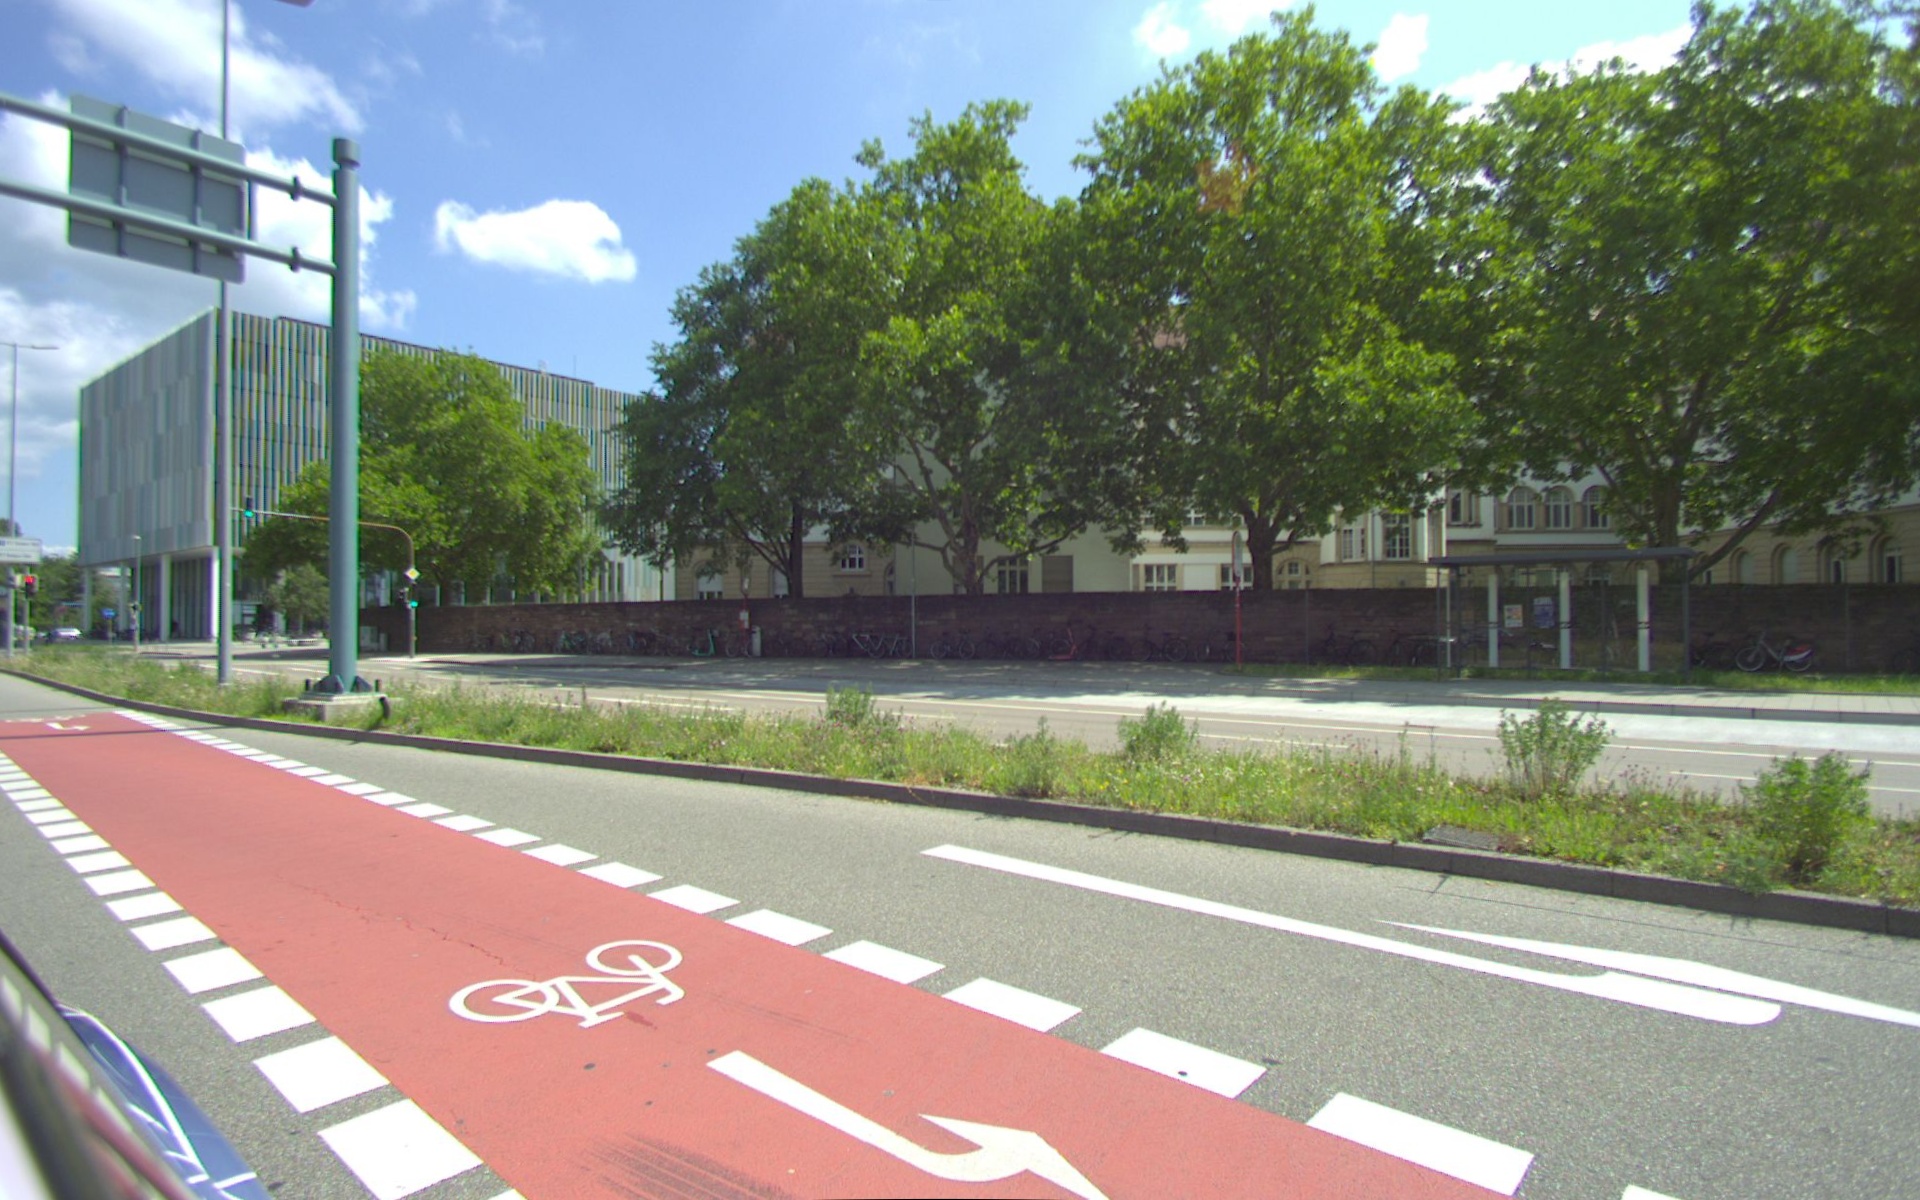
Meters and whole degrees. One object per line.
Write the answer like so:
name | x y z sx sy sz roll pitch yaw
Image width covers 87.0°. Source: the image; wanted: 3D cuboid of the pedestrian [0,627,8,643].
pedestrian | -98.173 3.613 103.654 0.994 1.669 0.853 -2 -2 39

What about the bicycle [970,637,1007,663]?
bicycle | 0.958 1.657 33.713 1.230 0.837 0.262 -1 -2 28

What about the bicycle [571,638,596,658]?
bicycle | -16.269 2.084 43.720 1.231 0.837 0.262 -2 -2 30

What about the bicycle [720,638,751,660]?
bicycle | -8.648 1.887 38.944 1.226 0.837 0.263 -1 -2 19

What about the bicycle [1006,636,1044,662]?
bicycle | 2.130 1.612 33.064 1.230 0.837 0.262 -1 -2 28

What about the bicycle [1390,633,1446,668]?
bicycle | 12.862 1.406 28.414 1.384 0.972 0.263 -1 -2 18

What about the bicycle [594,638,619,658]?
bicycle | -14.986 2.018 42.875 1.231 0.837 0.262 -2 -2 30

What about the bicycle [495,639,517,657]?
bicycle | -21.055 2.230 46.961 1.231 0.837 0.262 -2 -2 30

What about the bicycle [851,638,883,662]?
bicycle | -3.304 1.756 35.942 1.231 0.837 0.262 -1 -2 30

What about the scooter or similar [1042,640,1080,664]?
scooter or similar | 3.176 1.630 31.803 1.133 0.734 0.264 -1 -2 18

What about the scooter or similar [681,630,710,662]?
scooter or similar | -10.183 1.763 38.930 1.230 1.199 0.262 -1 -2 29

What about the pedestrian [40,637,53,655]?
pedestrian | -76.380 3.836 84.625 0.687 1.464 0.689 -2 -2 34

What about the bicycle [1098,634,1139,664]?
bicycle | 4.956 1.524 31.617 1.230 0.915 0.262 -1 -2 28

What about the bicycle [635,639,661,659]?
bicycle | -12.784 2.008 41.450 1.231 0.837 0.262 -2 -2 30

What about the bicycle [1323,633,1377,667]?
bicycle | 11.177 1.428 29.027 1.384 0.972 0.263 -1 -2 18

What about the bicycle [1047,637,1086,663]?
bicycle | 3.407 1.595 32.452 1.230 0.837 0.262 -1 -2 28

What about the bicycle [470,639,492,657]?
bicycle | -22.694 2.262 47.953 1.231 0.837 0.262 -2 -2 30

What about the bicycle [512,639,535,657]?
bicycle | -19.954 2.181 46.229 1.230 0.837 0.262 -1 -2 29

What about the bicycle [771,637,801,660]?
bicycle | -6.472 1.811 37.561 1.231 0.837 0.262 -1 -2 30

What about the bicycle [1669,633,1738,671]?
bicycle | 19.230 1.347 26.190 1.384 0.972 0.263 -1 -2 18

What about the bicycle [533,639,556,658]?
bicycle | -18.597 2.164 45.304 1.230 0.837 0.262 -1 -2 29

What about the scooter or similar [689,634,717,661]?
scooter or similar | -10.146 1.870 39.913 1.133 1.028 0.264 -1 -2 19

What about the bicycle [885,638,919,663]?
bicycle | -2.017 1.752 35.111 1.231 0.837 0.262 -1 -2 30

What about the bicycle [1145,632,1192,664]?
bicycle | 6.398 1.478 31.031 1.385 0.972 0.263 -1 -2 20

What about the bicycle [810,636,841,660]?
bicycle | -4.892 1.742 36.852 1.231 0.837 0.262 -1 -2 30

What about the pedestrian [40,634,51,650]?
pedestrian | -87.519 4.036 96.865 0.689 1.464 0.687 -2 -2 43

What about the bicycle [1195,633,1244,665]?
bicycle | 7.804 1.471 30.411 1.389 0.972 0.262 -1 -2 28

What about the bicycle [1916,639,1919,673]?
bicycle | 24.452 1.358 24.593 1.734 0.823 0.382 -1 -2 18

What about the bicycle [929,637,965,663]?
bicycle | -0.434 1.690 34.272 1.230 0.837 0.262 -1 -2 28

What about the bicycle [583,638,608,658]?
bicycle | -15.333 2.006 42.550 1.230 0.837 0.262 -1 -2 29

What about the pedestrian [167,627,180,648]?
pedestrian | -80.185 3.819 103.149 0.994 2.029 0.853 -2 -2 40

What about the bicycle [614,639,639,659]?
bicycle | -13.903 2.028 42.185 1.231 0.837 0.262 -2 -2 30

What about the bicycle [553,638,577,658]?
bicycle | -17.408 2.113 44.554 1.230 0.837 0.262 -1 -2 29

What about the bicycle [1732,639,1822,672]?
bicycle | 20.742 1.407 25.716 1.734 0.823 0.327 -1 -2 18

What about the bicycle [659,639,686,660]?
bicycle | -11.545 1.968 40.560 1.231 0.837 0.262 -2 -2 30

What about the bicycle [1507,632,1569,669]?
bicycle | 15.628 1.370 27.383 1.384 0.972 0.263 -1 -2 18

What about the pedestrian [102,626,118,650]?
pedestrian | -70.975 3.179 84.515 0.994 2.029 0.853 -2 -2 39

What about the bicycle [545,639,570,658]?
bicycle | -17.486 2.108 43.955 1.230 0.837 0.262 -1 -2 29
